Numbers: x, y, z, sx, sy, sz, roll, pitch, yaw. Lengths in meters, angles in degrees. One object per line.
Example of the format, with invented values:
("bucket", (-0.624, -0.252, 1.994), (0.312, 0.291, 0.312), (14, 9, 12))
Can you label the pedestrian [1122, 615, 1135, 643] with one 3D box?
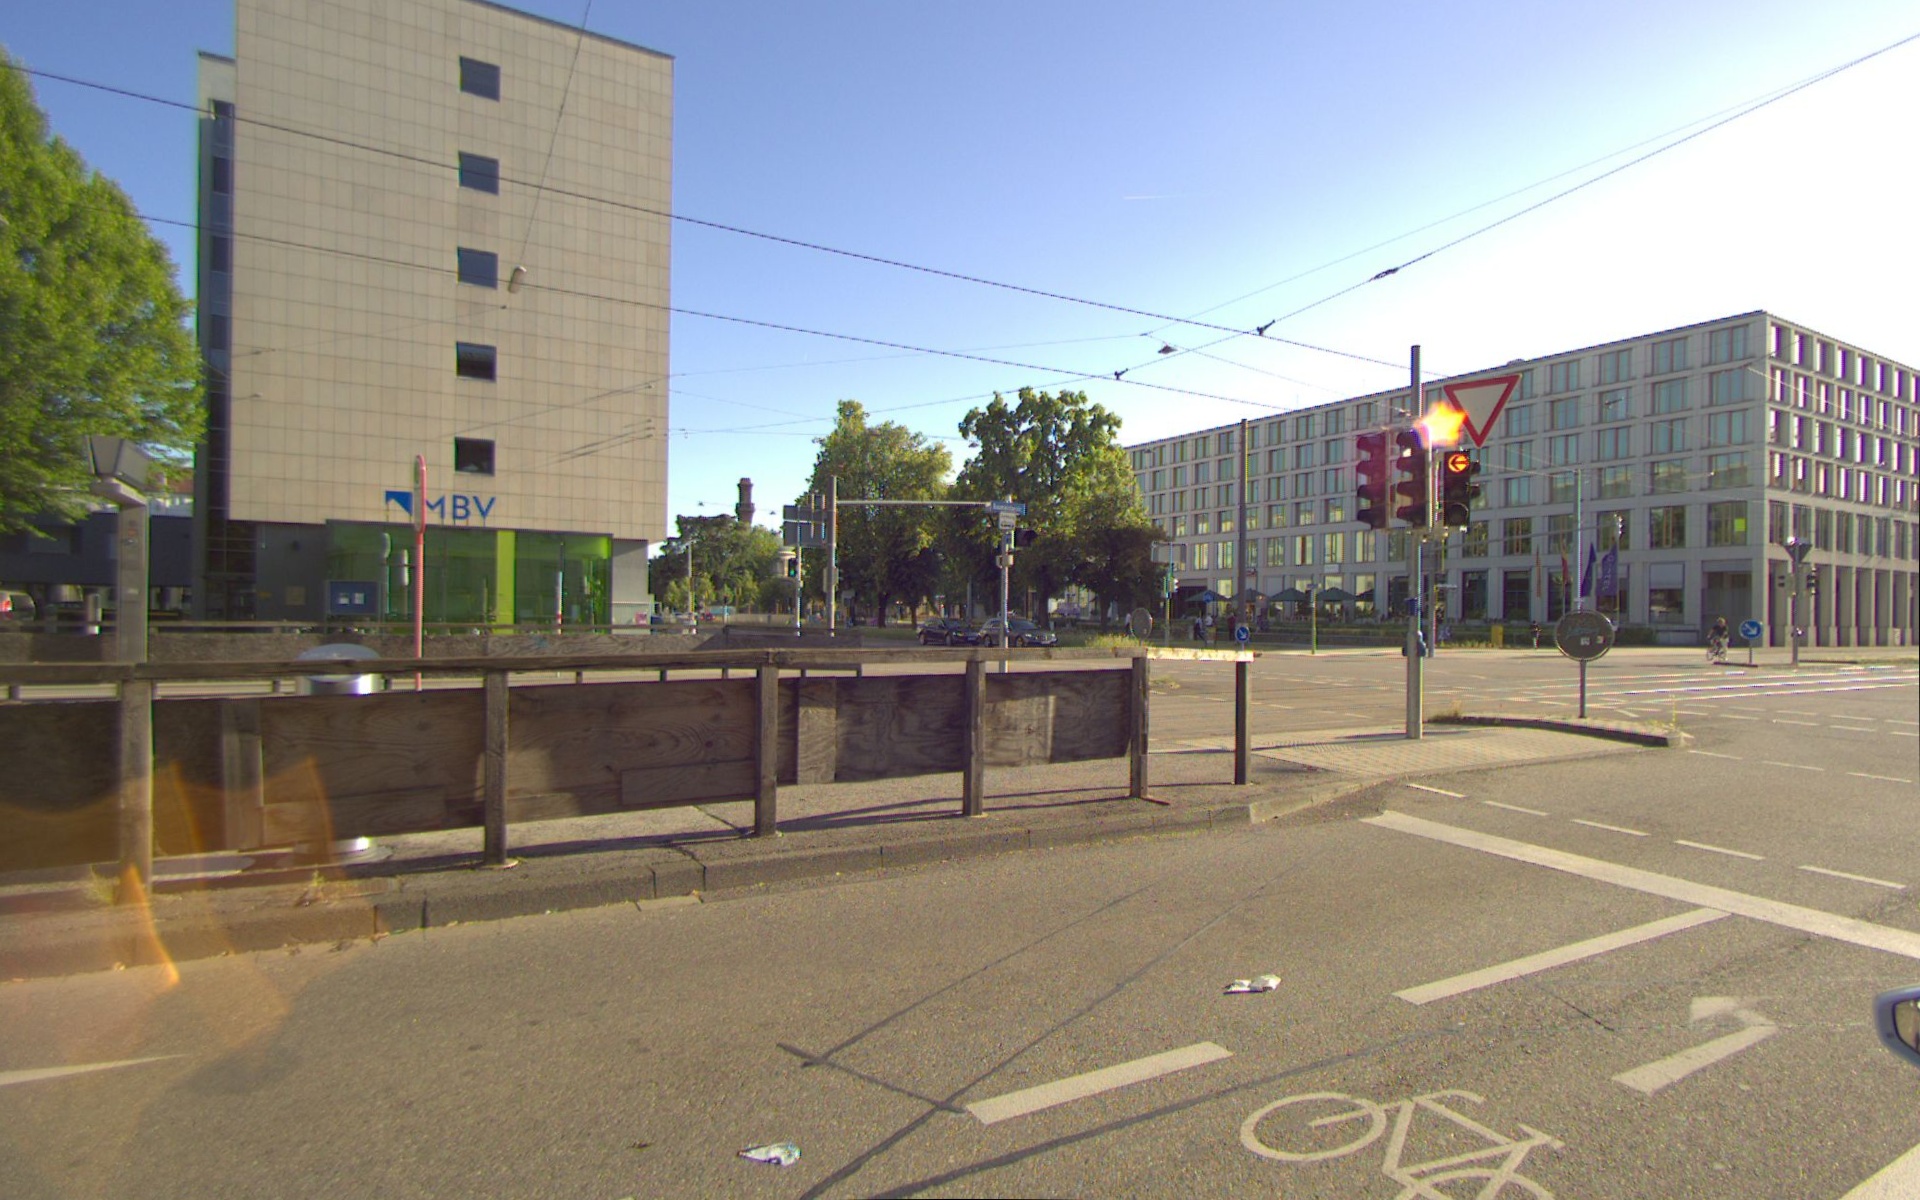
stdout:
("pedestrian", (11.664, 1.990, 69.444), (0.672, 1.928, 0.560), (1, -1, -21))

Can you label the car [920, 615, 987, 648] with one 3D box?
("car", (-0.384, 1.619, 52.791), (1.801, 1.595, 3.967), (0, 0, -31))

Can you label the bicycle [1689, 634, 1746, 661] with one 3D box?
("bicycle", (32.714, 2.052, 43.353), (2.976, 1.136, 0.871), (1, -1, -29))

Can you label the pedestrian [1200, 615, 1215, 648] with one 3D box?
("pedestrian", (15.643, 1.976, 63.464), (0.793, 2.040, 0.526), (1, -1, -36))

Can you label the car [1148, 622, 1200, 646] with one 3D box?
("car", (13.468, 2.131, 63.352), (1.455, 1.457, 3.167), (1, -1, -32))

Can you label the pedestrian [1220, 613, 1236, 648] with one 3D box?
("pedestrian", (16.407, 1.894, 61.536), (0.644, 2.095, 0.645), (5, -3, -36))

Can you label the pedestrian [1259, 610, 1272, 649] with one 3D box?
("pedestrian", (18.642, 1.792, 61.246), (0.528, 2.310, 0.565), (1, -1, -36))

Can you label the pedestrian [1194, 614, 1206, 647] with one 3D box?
("pedestrian", (15.028, 1.895, 62.943), (0.487, 2.040, 0.490), (1, -1, -39))

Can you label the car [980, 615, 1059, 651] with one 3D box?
("car", (2.781, 1.533, 47.555), (1.708, 1.595, 4.140), (1, -1, -31))
